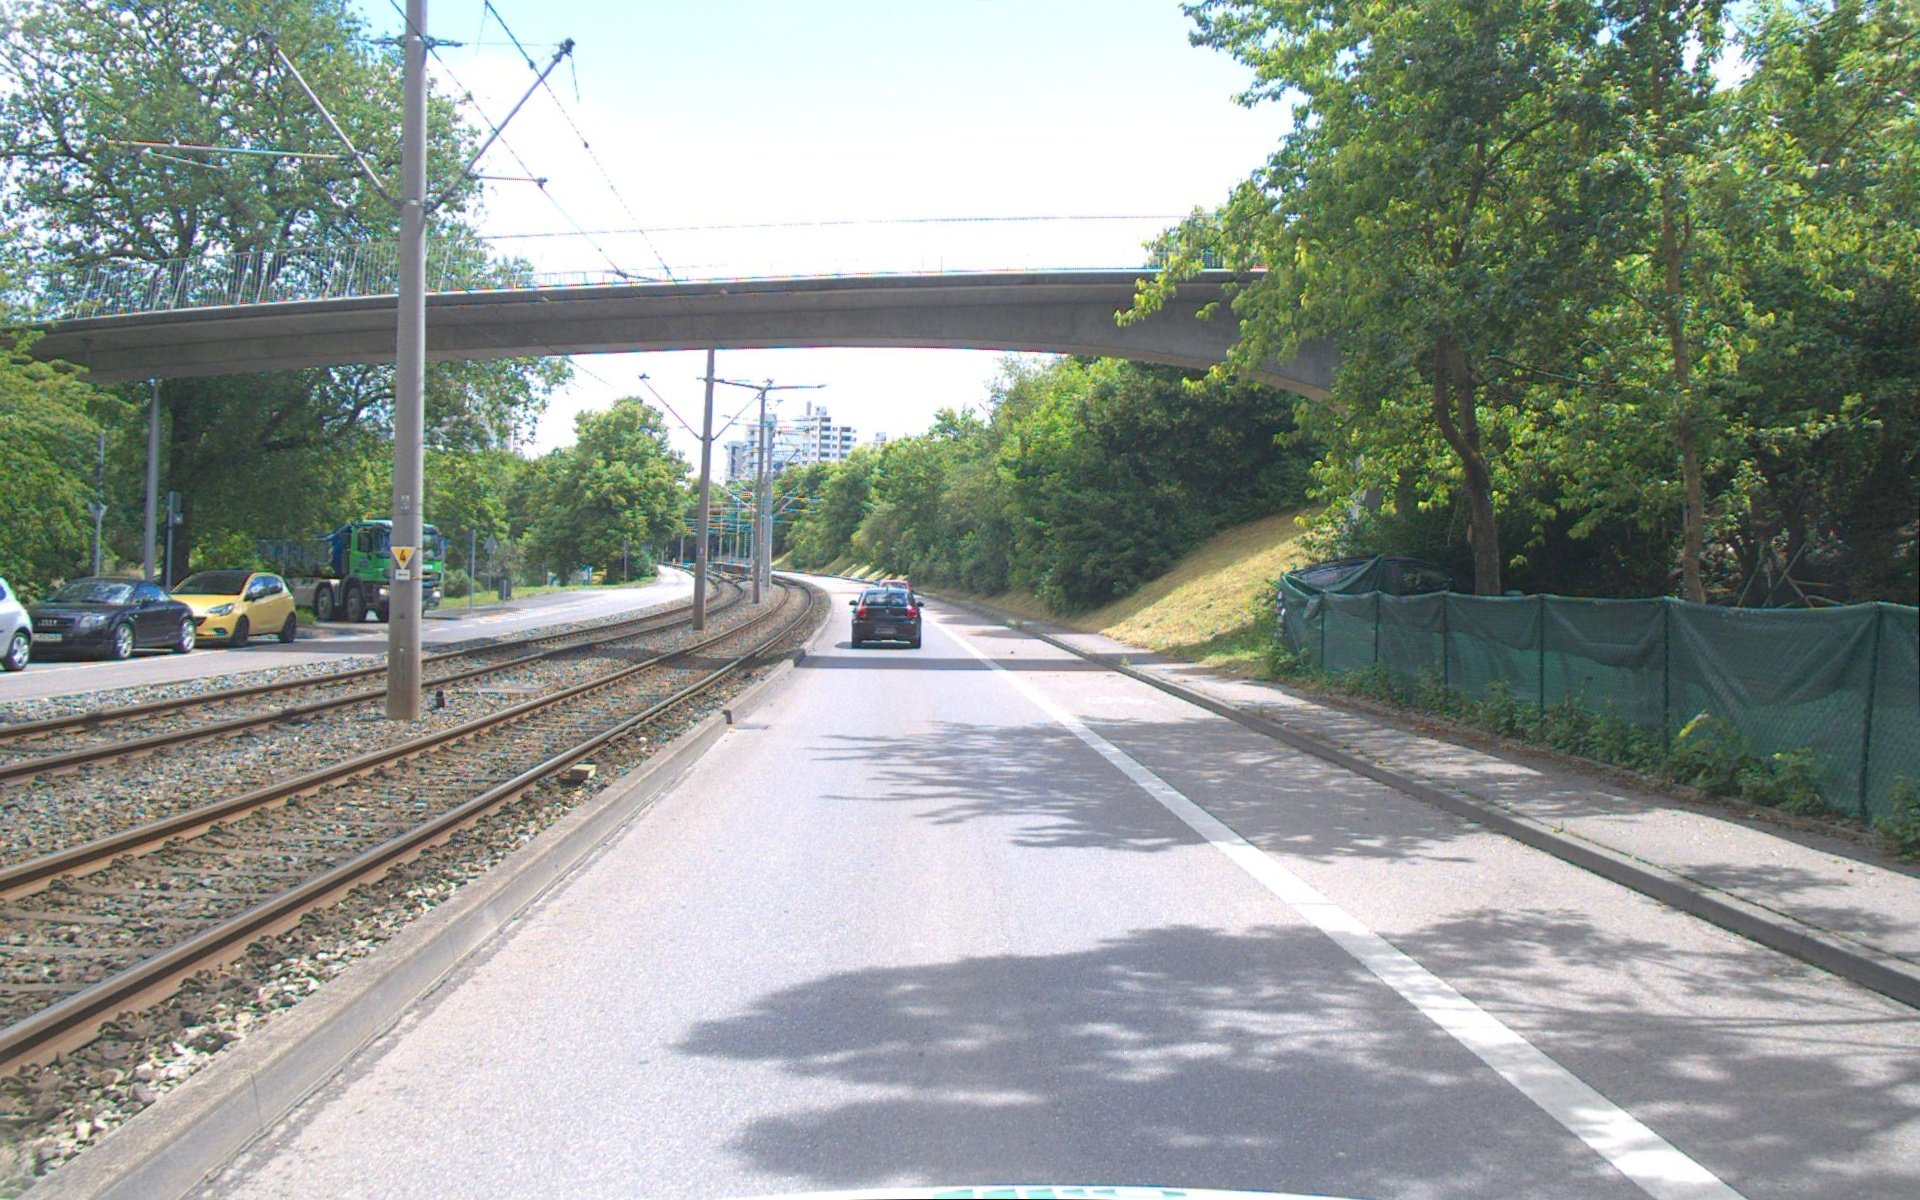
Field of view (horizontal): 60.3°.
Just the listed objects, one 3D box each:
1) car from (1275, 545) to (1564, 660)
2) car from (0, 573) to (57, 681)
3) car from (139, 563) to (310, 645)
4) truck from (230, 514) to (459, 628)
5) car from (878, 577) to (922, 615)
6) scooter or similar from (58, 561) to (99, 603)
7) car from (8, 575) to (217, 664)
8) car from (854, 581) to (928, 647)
[{"bbox_3d":[7.938,0.061,28.882,4.431,1.701,2.000,-3,-1,1],"label":"car"},{"bbox_3d":[-14.274,0.339,22.674,1.561,1.520,4.189,3,-1,-3],"label":"car"},{"bbox_3d":[-14.659,0.125,33.198,1.655,1.476,3.897,3,-1,-1],"label":"car"},{"bbox_3d":[-20.580,-1.027,54.999,8.860,3.377,2.866,3,-1,39],"label":"truck"},{"bbox_3d":[-2.503,-0.147,69.822,1.591,1.468,3.421,3,-1,1],"label":"car"},{"bbox_3d":[-25.523,-0.510,47.884,0.696,1.167,0.787,3,-1,0],"label":"scooter or similar"},{"bbox_3d":[-14.286,0.302,28.133,1.480,1.384,4.127,1,0,-1],"label":"car"},{"bbox_3d":[-1.716,0.324,41.022,1.674,1.485,3.958,3,0,-3],"label":"car"}]
